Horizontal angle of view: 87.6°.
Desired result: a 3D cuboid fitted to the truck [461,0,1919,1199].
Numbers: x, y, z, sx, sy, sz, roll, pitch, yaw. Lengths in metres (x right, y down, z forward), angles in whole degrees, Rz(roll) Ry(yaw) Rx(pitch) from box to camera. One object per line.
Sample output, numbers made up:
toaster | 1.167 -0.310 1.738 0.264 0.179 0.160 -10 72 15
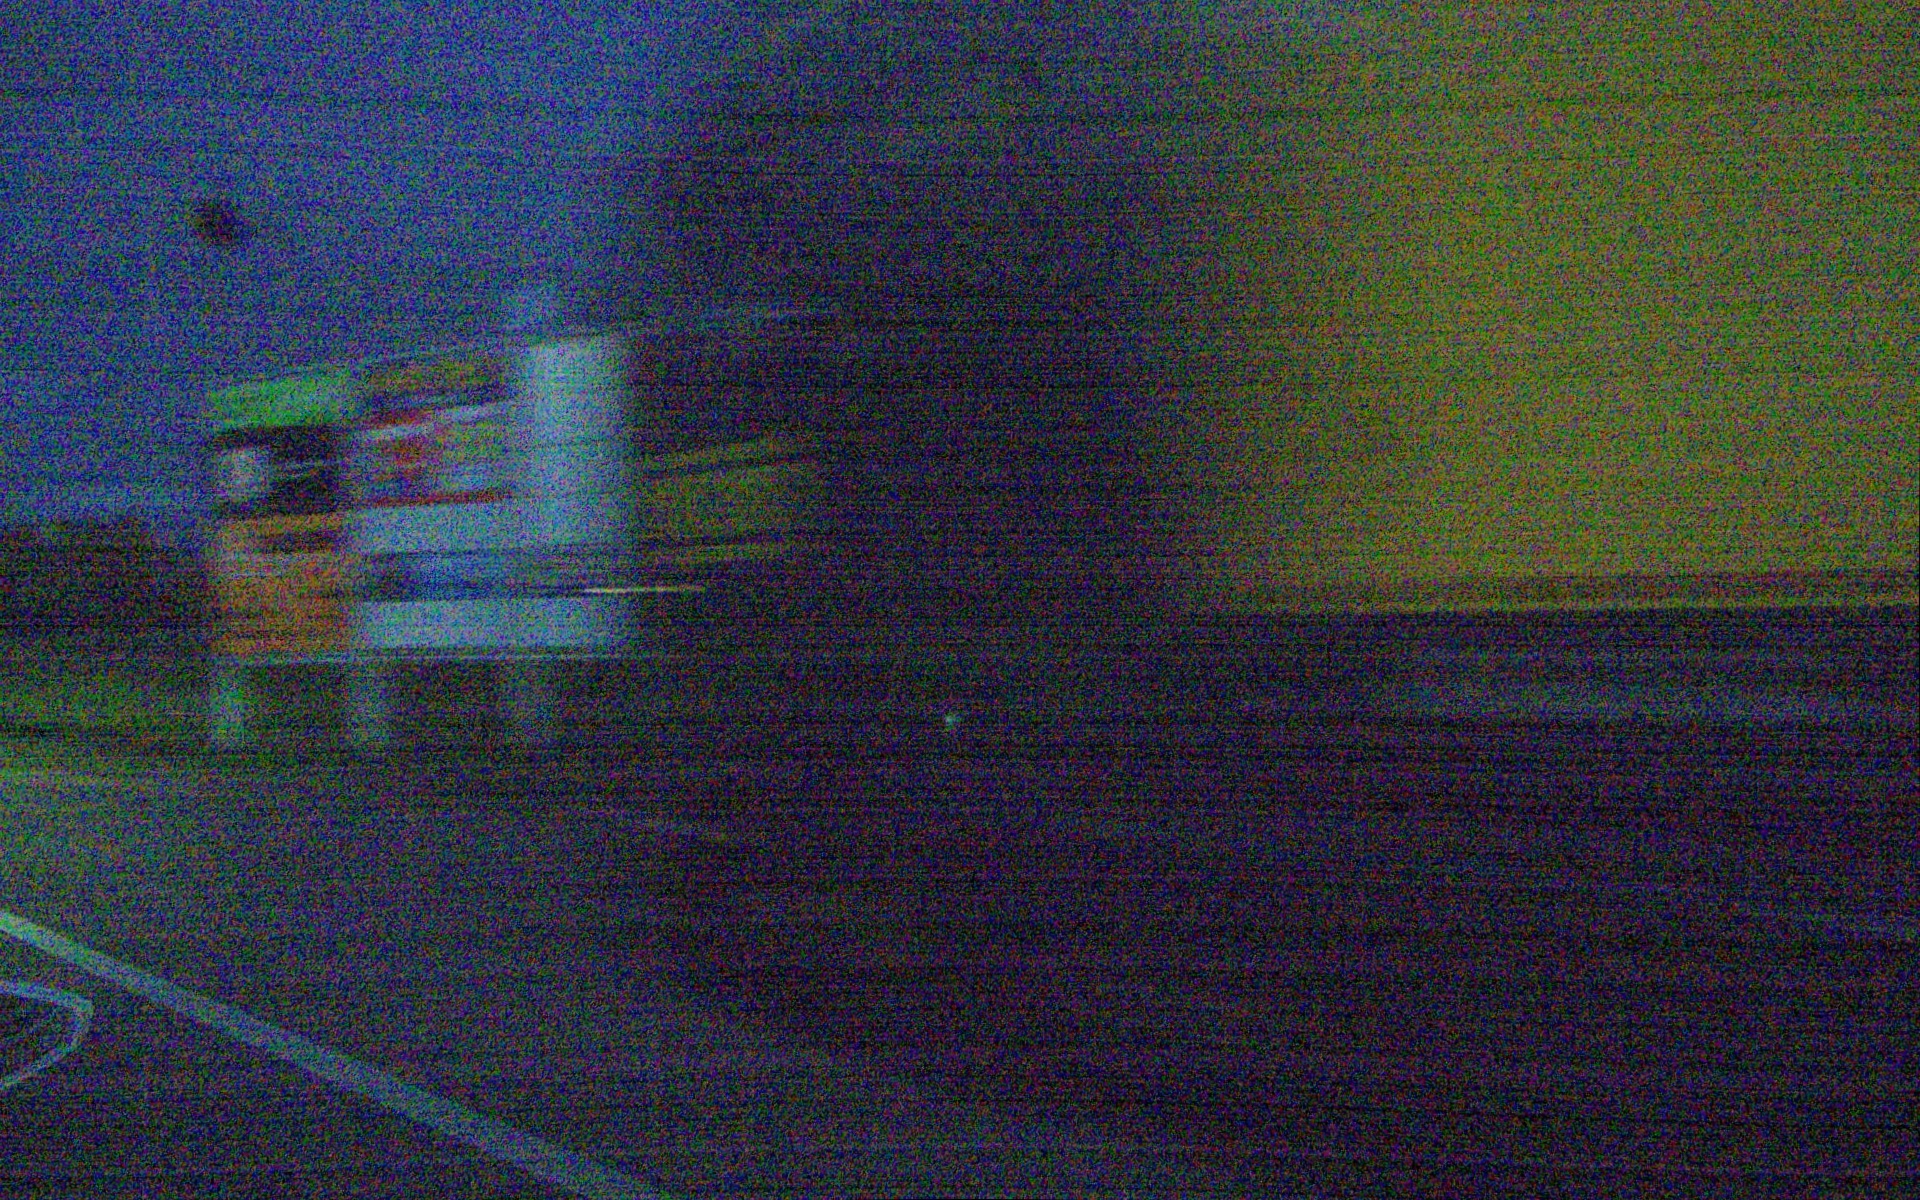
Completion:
truck | 0.913 -0.379 3.705 5.420 3.848 2.481 -2 -2 32
